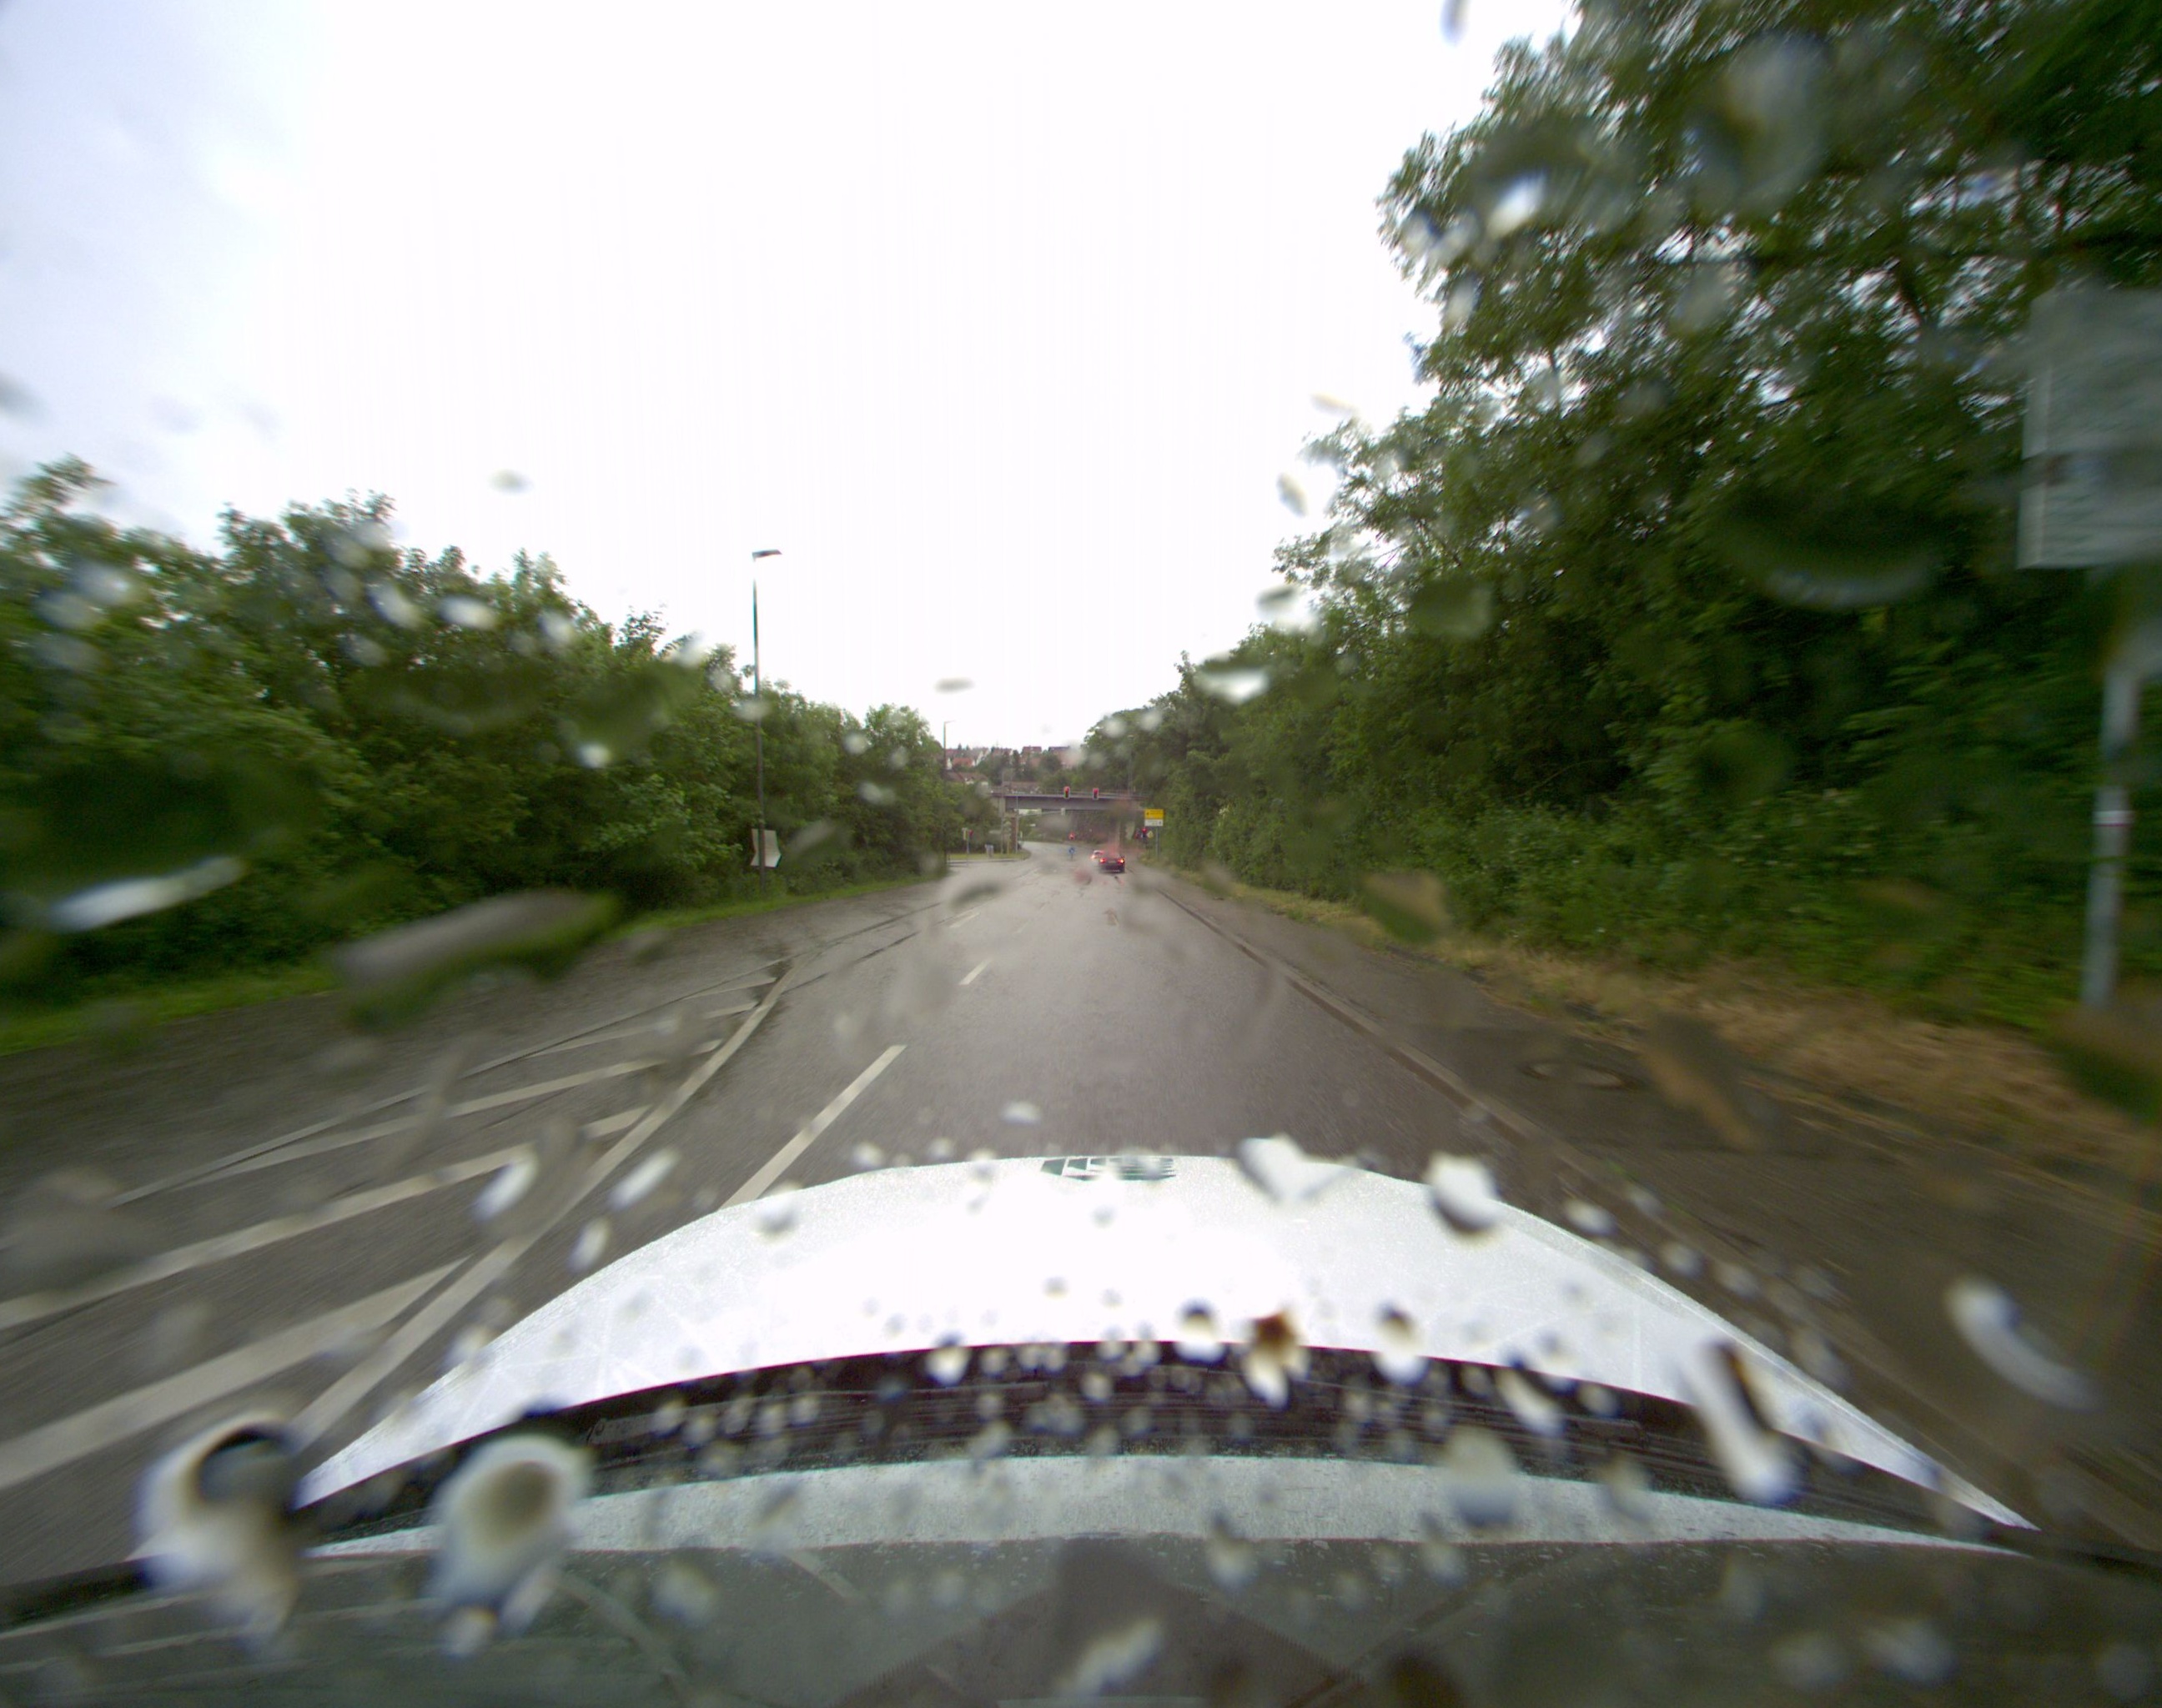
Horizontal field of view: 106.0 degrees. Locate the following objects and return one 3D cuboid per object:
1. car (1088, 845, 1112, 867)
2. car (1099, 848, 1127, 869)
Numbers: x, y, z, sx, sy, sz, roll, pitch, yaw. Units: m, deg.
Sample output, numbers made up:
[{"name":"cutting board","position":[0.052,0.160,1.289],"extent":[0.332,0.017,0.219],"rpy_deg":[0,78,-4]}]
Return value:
[{"name":"car","position":[1.503,0.139,62.381],"extent":[1.761,1.563,4.002],"rpy_deg":[-1,0,2]},{"name":"car","position":[2.176,0.294,55.626],"extent":[1.761,1.380,4.002],"rpy_deg":[-1,0,2]}]
